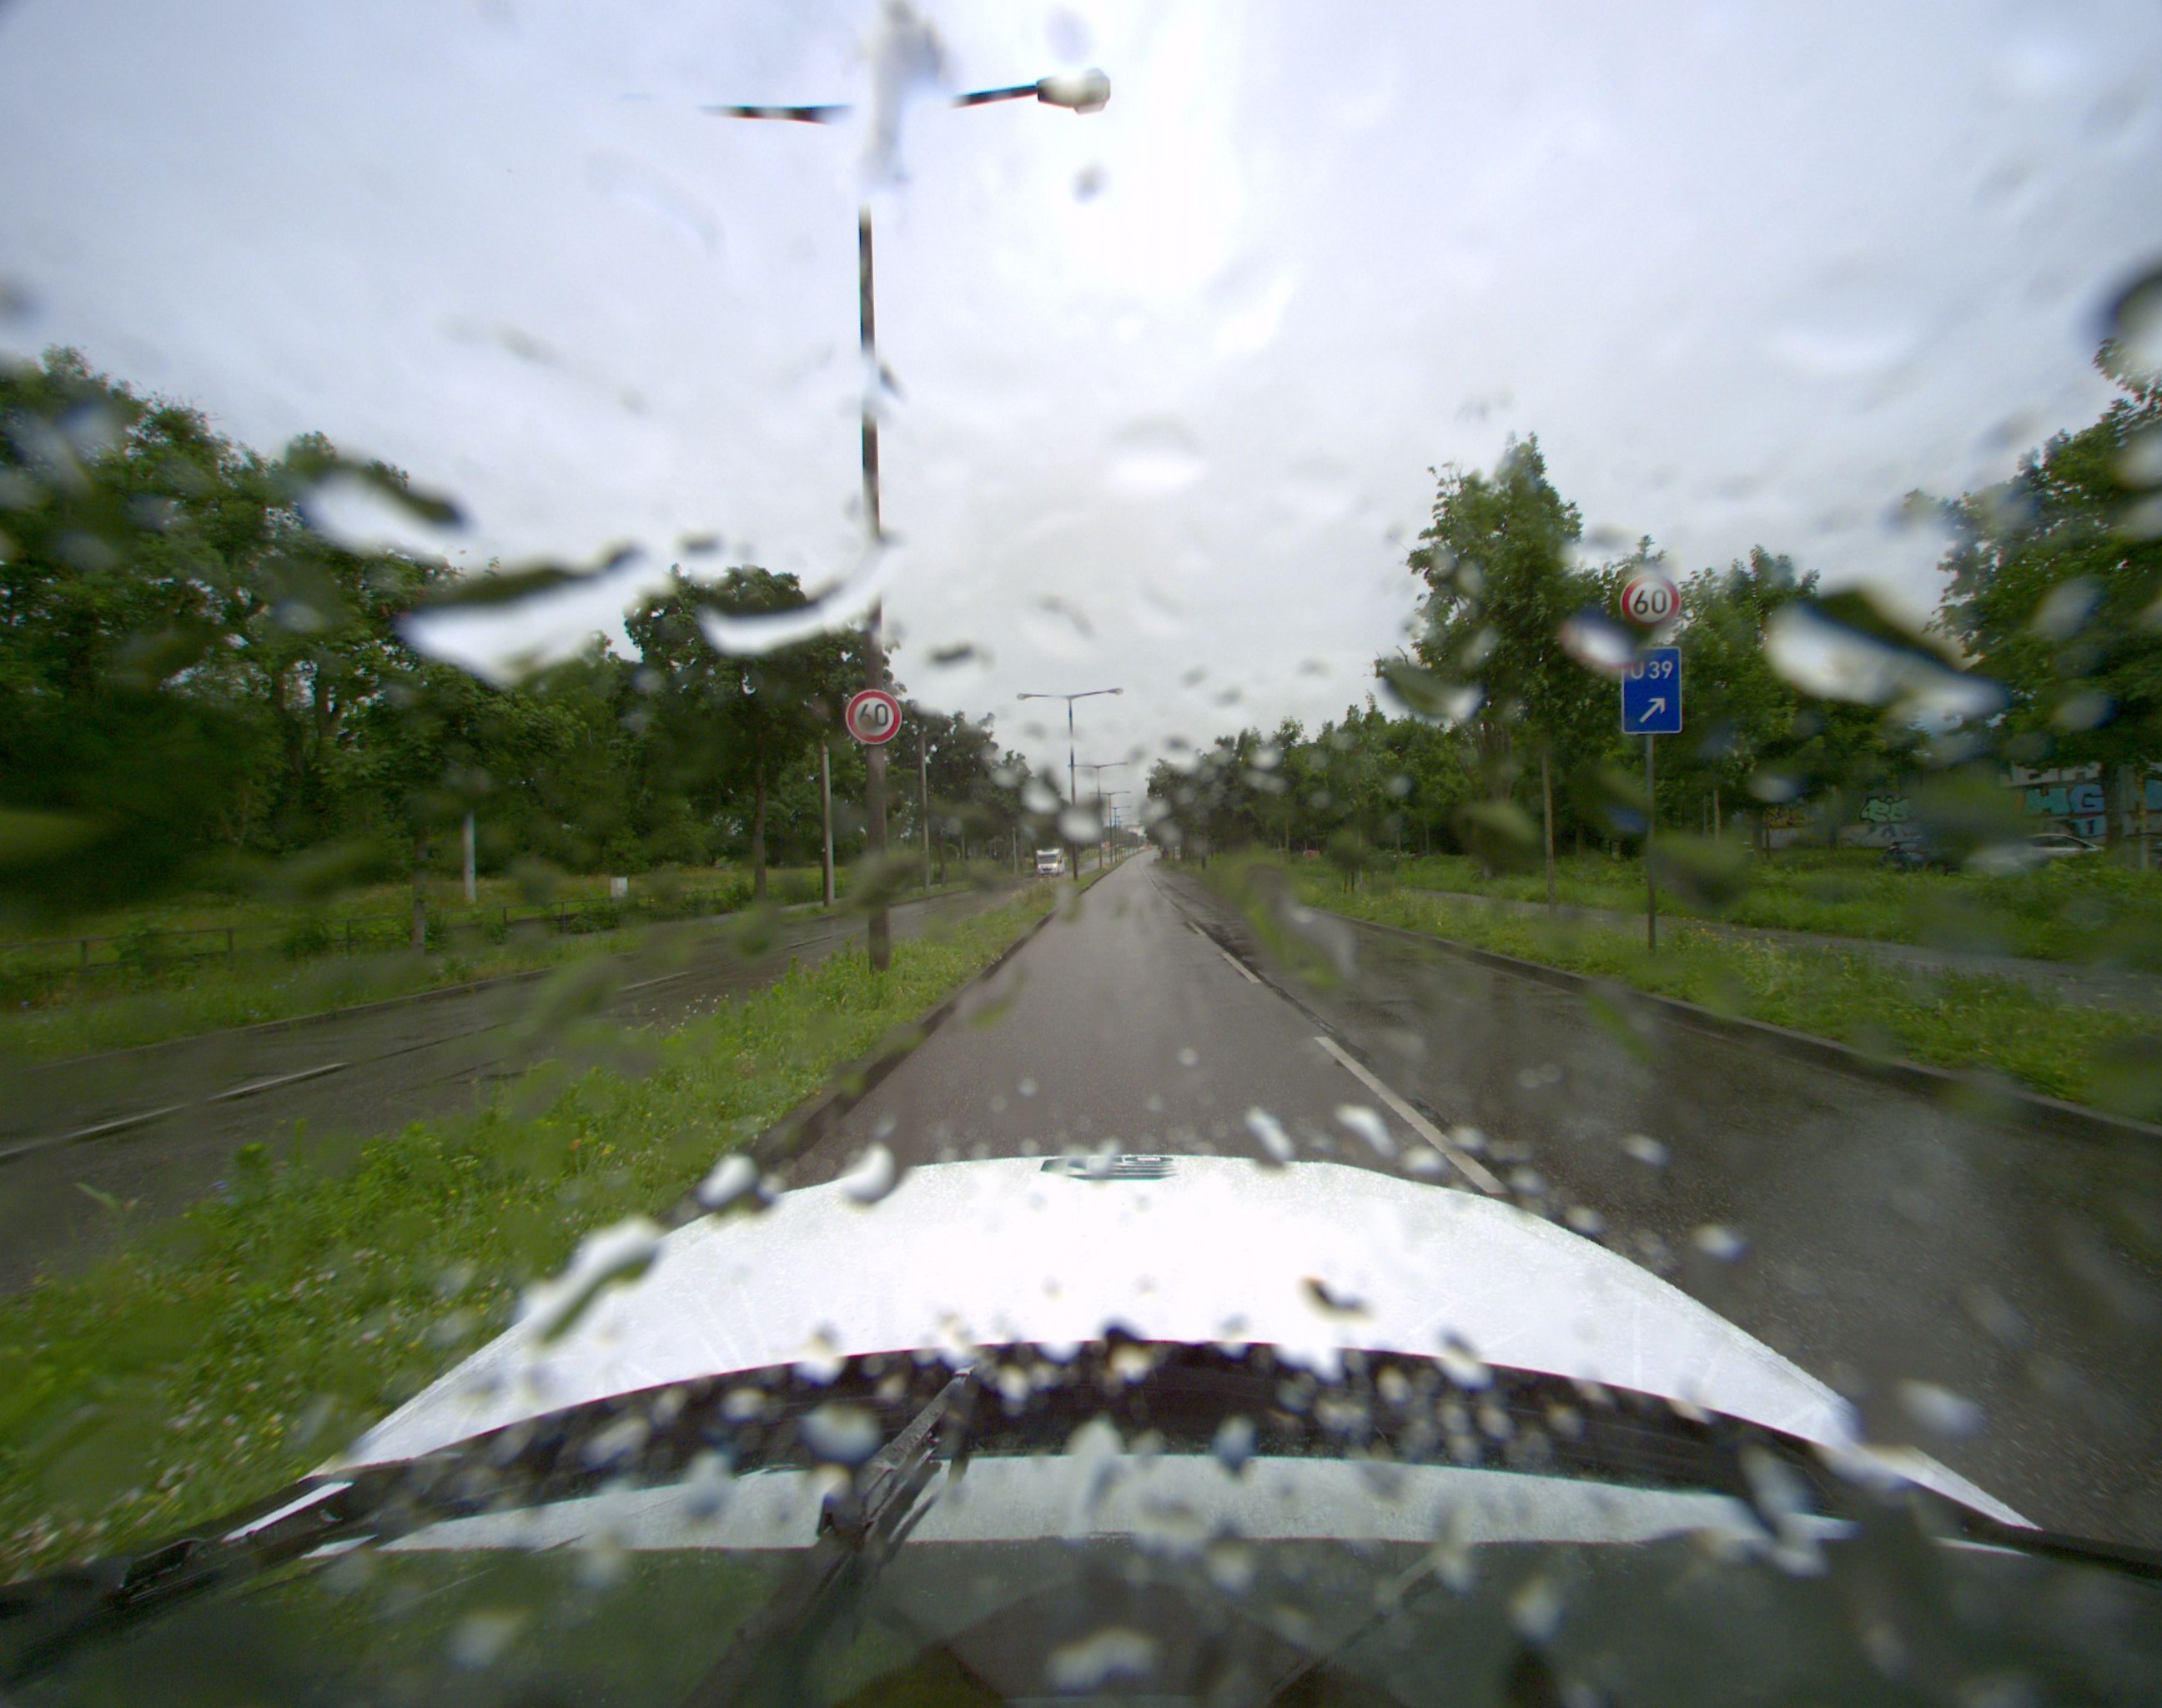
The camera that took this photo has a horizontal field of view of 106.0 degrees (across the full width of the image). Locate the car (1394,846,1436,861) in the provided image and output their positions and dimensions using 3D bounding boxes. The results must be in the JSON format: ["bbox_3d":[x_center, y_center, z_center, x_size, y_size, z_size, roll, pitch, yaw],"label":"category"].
[{"bbox_3d":[36.721,-0.034,89.510,3.964,1.640,1.811,0,-1,8],"label":"car"}]

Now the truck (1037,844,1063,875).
[{"bbox_3d":[-3.026,0.576,80.627,2.130,2.843,5.075,-3,-1,2],"label":"truck"}]

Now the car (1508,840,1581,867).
[{"bbox_3d":[31.771,-0.041,55.908,3.938,1.820,1.898,0,-1,3],"label":"car"}]

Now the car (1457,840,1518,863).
[{"bbox_3d":[32.593,-0.184,65.325,3.938,1.820,1.898,0,-1,3],"label":"car"}]

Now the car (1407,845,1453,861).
[{"bbox_3d":[35.932,-0.050,83.899,3.964,1.640,1.811,0,-1,8],"label":"car"}]

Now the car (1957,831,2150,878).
[{"bbox_3d":[33.195,0.032,27.867,4.558,1.547,1.861,0,-1,-3],"label":"car"}]

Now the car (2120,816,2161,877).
[{"bbox_3d":[31.406,-0.198,21.906,4.558,1.645,1.998,0,-1,-3],"label":"car"}]

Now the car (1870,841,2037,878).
[{"bbox_3d":[32.418,0.216,30.329,4.387,1.334,1.836,0,-1,-3],"label":"car"}]
